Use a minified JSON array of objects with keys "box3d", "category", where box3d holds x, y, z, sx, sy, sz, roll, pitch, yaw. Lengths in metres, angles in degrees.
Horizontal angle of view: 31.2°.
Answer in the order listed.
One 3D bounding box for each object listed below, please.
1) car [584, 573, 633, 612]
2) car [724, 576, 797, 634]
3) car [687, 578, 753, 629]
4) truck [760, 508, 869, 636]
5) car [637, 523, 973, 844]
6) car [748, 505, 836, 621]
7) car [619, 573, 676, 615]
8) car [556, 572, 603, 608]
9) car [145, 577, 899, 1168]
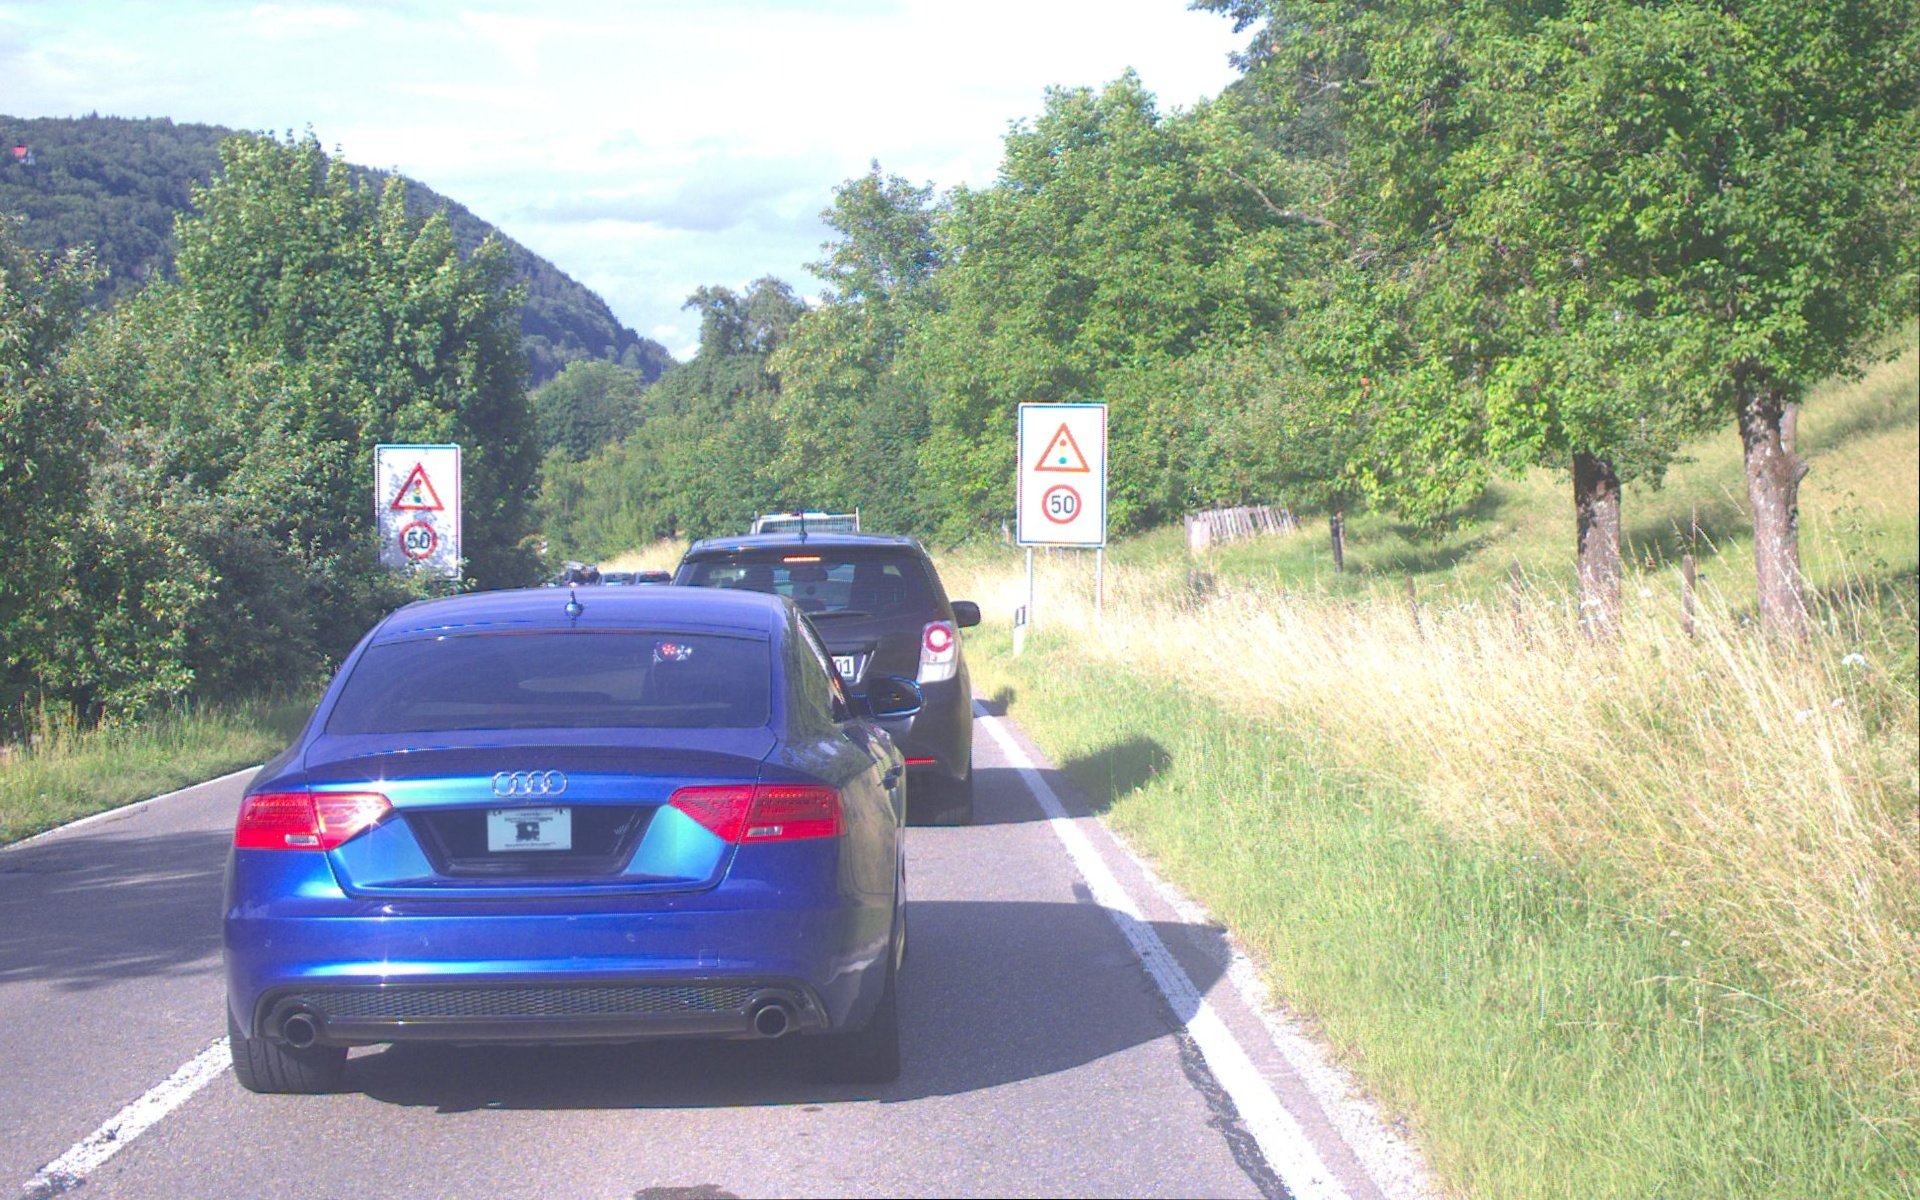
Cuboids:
[{"box3d":[-14.629,-0.324,143.035,1.558,1.490,3.779,2,1,-13],"category":"car"},{"box3d":[-5.633,0.137,96.707,1.747,1.490,3.779,2,1,-7],"category":"car"},{"box3d":[-7.823,0.105,111.792,1.747,1.490,3.779,2,1,-10],"category":"car"},{"box3d":[-2.831,-0.576,67.251,1.950,2.337,5.094,2,1,-2],"category":"truck"},{"box3d":[-0.841,0.389,19.451,1.692,1.618,3.789,1,1,-1],"category":"car"},{"box3d":[-3.766,-0.842,76.642,1.792,2.445,3.920,2,1,-4],"category":"car"},{"box3d":[-12.124,-0.232,133.192,1.747,1.490,3.779,2,1,-12],"category":"car"},{"box3d":[-16.867,-0.443,152.451,1.558,1.490,3.779,2,1,-14],"category":"car"},{"box3d":[-1.102,0.649,10.481,1.805,1.377,4.215,-1,1,-1],"category":"car"}]
